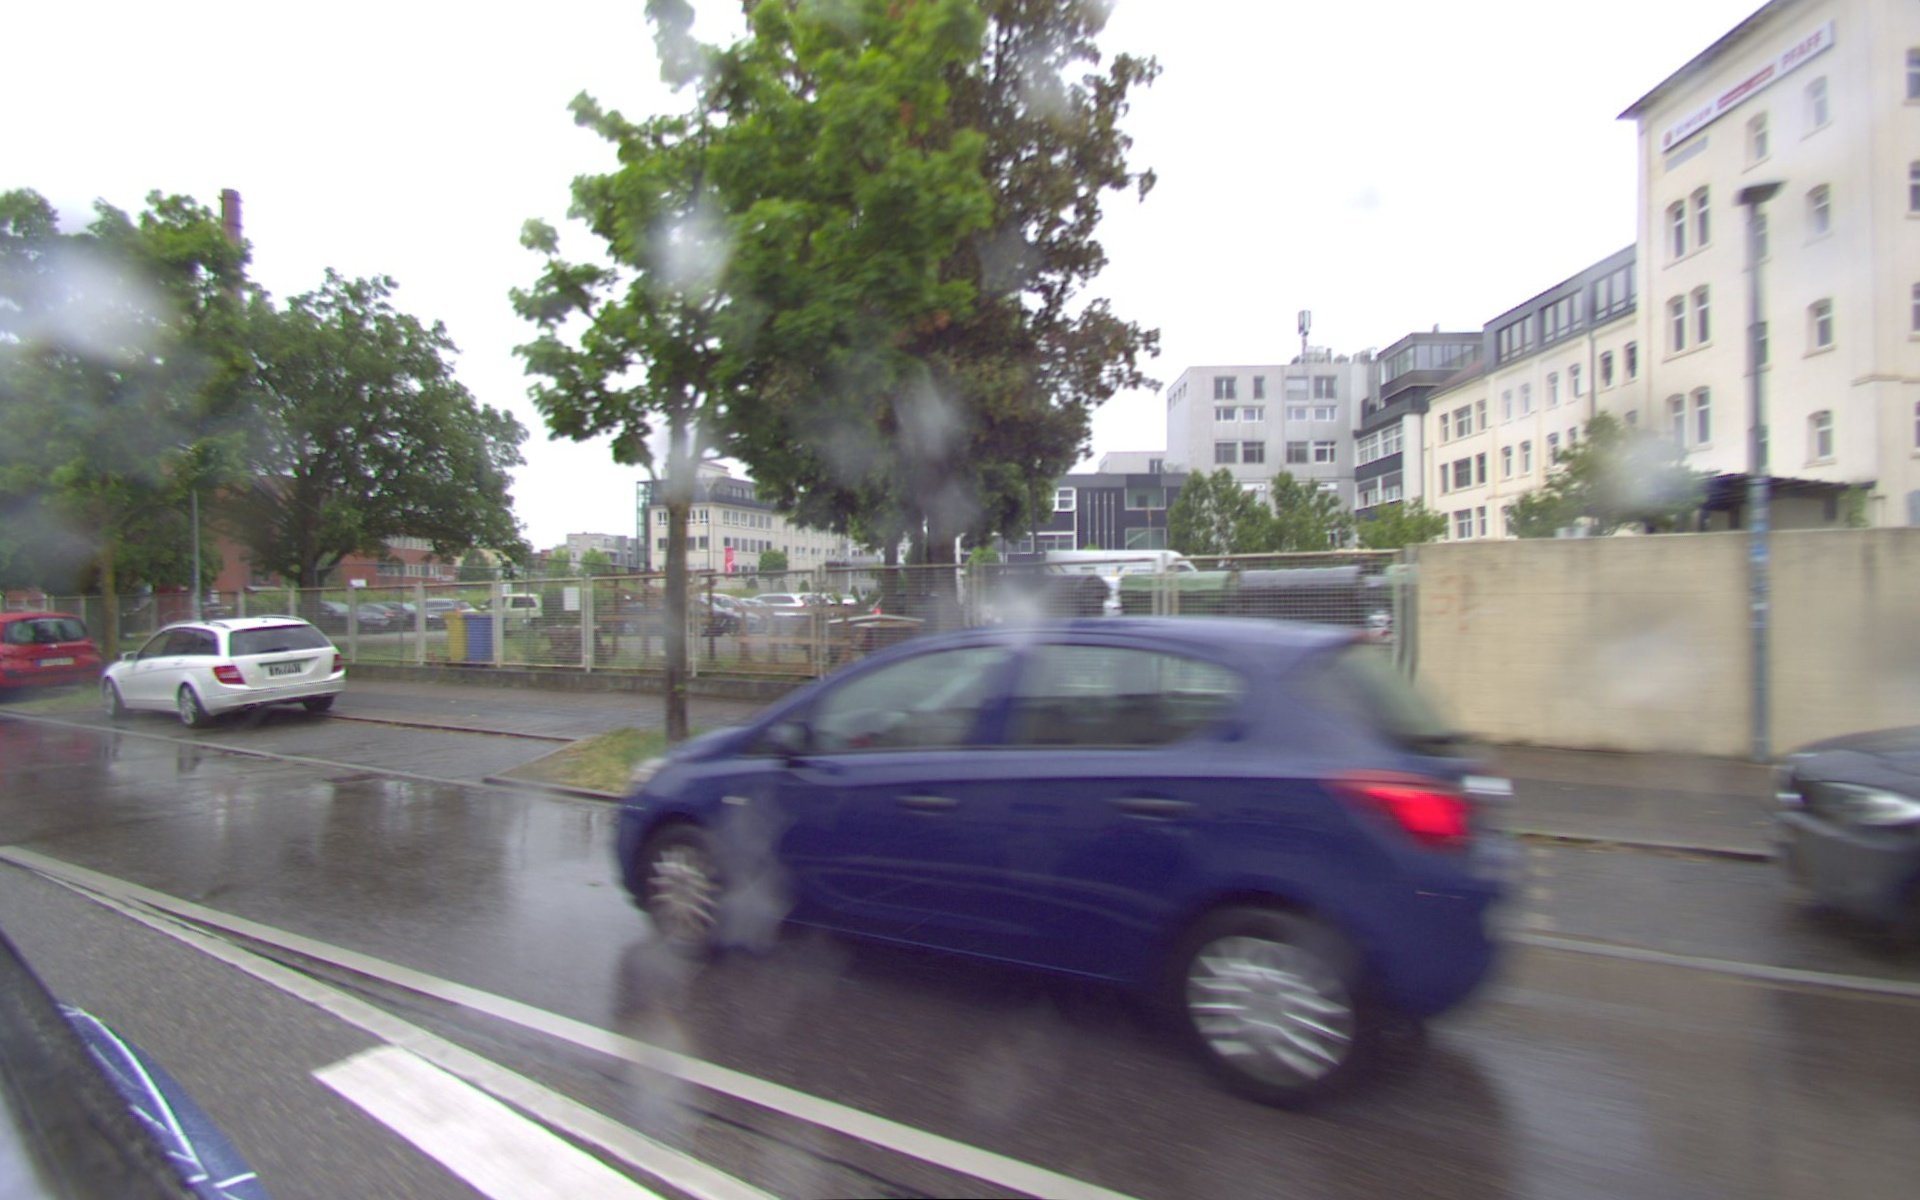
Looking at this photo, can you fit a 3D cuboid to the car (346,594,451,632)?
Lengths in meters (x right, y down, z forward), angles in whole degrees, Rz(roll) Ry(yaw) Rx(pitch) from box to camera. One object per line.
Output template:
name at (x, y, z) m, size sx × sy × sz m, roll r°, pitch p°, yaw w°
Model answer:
car at (-26.359, 0.574, 47.557) m, size 3.944 × 1.683 × 1.771 m, roll -1°, pitch 0°, yaw 1°

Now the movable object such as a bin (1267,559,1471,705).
movable object such as a bin at (4.550, 0.303, 11.180) m, size 1.751 × 1.435 × 1.895 m, roll -1°, pitch 1°, yaw 33°

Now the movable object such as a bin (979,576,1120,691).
movable object such as a bin at (1.179, 0.394, 13.088) m, size 1.259 × 1.378 × 1.479 m, roll -1°, pitch 1°, yaw 33°

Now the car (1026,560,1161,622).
car at (4.759, -0.323, 36.778) m, size 4.658 × 2.099 × 2.148 m, roll -1°, pitch 0°, yaw 3°

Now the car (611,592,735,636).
car at (-10.340, 0.494, 36.588) m, size 3.950 × 1.506 × 1.757 m, roll -1°, pitch 0°, yaw 5°

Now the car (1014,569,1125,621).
car at (4.696, -0.223, 44.173) m, size 4.658 × 2.133 × 2.148 m, roll -1°, pitch 0°, yaw 3°

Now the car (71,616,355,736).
car at (-11.051, 1.002, 14.878) m, size 4.664 × 1.471 × 1.761 m, roll -1°, pitch 1°, yaw 32°

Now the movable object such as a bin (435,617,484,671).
movable object such as a bin at (-9.590, 0.829, 19.399) m, size 0.711 × 0.993 × 0.541 m, roll -1°, pitch 0°, yaw 33°

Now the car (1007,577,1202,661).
car at (3.003, 0.385, 21.790) m, size 3.947 × 1.652 × 1.998 m, roll -1°, pitch 0°, yaw 3°

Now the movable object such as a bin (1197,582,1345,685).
movable object such as a bin at (4.516, 0.451, 14.672) m, size 1.784 × 1.378 × 1.206 m, roll -1°, pitch 1°, yaw 33°

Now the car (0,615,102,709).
car at (-18.050, 1.108, 19.169) m, size 3.784 × 1.610 × 1.612 m, roll -1°, pitch 1°, yaw 31°

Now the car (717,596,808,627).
car at (-9.552, 0.546, 49.052) m, size 3.949 × 1.362 × 1.997 m, roll -1°, pitch 0°, yaw 5°

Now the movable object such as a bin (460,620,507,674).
movable object such as a bin at (-8.907, 0.867, 18.918) m, size 0.636 × 0.956 × 0.533 m, roll -1°, pitch 0°, yaw 33°

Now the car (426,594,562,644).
car at (-16.681, 0.671, 36.400) m, size 3.944 × 1.683 × 2.067 m, roll -1°, pitch 0°, yaw 1°

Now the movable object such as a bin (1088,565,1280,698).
movable object such as a bin at (2.707, 0.340, 12.174) m, size 1.826 × 1.452 × 1.547 m, roll -1°, pitch 1°, yaw 33°

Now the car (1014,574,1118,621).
car at (4.897, -0.117, 47.171) m, size 4.658 × 2.088 × 2.148 m, roll -1°, pitch 0°, yaw 3°

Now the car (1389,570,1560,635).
car at (17.449, 0.079, 34.530) m, size 4.658 × 2.099 × 2.148 m, roll -1°, pitch 0°, yaw 3°

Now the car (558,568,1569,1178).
car at (0.285, 0.721, 4.304) m, size 3.933 × 1.512 × 1.693 m, roll -1°, pitch -2°, yaw 32°

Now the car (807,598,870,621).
car at (-8.202, 0.612, 68.546) m, size 3.945 × 1.453 × 1.999 m, roll -1°, pitch 0°, yaw 2°

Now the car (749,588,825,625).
car at (-9.883, 0.337, 58.043) m, size 3.946 × 2.029 × 1.999 m, roll -1°, pitch 0°, yaw 2°

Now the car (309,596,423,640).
car at (-26.622, 0.787, 45.452) m, size 3.944 × 1.896 × 2.000 m, roll -1°, pitch 0°, yaw 1°

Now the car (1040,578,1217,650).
car at (4.051, 0.323, 24.875) m, size 4.093 × 1.652 × 1.746 m, roll -1°, pitch 0°, yaw 3°

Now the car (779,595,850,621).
car at (-8.732, 0.463, 60.939) m, size 3.945 × 1.453 × 1.999 m, roll -1°, pitch 0°, yaw 2°

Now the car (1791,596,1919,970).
car at (5.872, 0.719, 3.759) m, size 4.083 × 1.456 × 1.683 m, roll -1°, pitch 1°, yaw 32°

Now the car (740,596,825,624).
car at (-9.157, 0.506, 52.474) m, size 3.949 × 1.362 × 1.997 m, roll -1°, pitch 0°, yaw 5°

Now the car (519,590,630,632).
car at (-16.393, 0.462, 43.137) m, size 3.944 × 1.683 × 2.067 m, roll -1°, pitch 0°, yaw 1°

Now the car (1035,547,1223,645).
car at (4.386, -0.108, 26.914) m, size 4.658 × 2.414 × 2.148 m, roll -1°, pitch 0°, yaw 3°

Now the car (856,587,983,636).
car at (-1.277, 0.354, 32.974) m, size 3.950 × 1.506 × 1.757 m, roll -1°, pitch 0°, yaw 5°

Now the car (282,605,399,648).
car at (-26.508, 1.116, 43.377) m, size 3.944 × 1.683 × 1.771 m, roll -1°, pitch 0°, yaw 1°
